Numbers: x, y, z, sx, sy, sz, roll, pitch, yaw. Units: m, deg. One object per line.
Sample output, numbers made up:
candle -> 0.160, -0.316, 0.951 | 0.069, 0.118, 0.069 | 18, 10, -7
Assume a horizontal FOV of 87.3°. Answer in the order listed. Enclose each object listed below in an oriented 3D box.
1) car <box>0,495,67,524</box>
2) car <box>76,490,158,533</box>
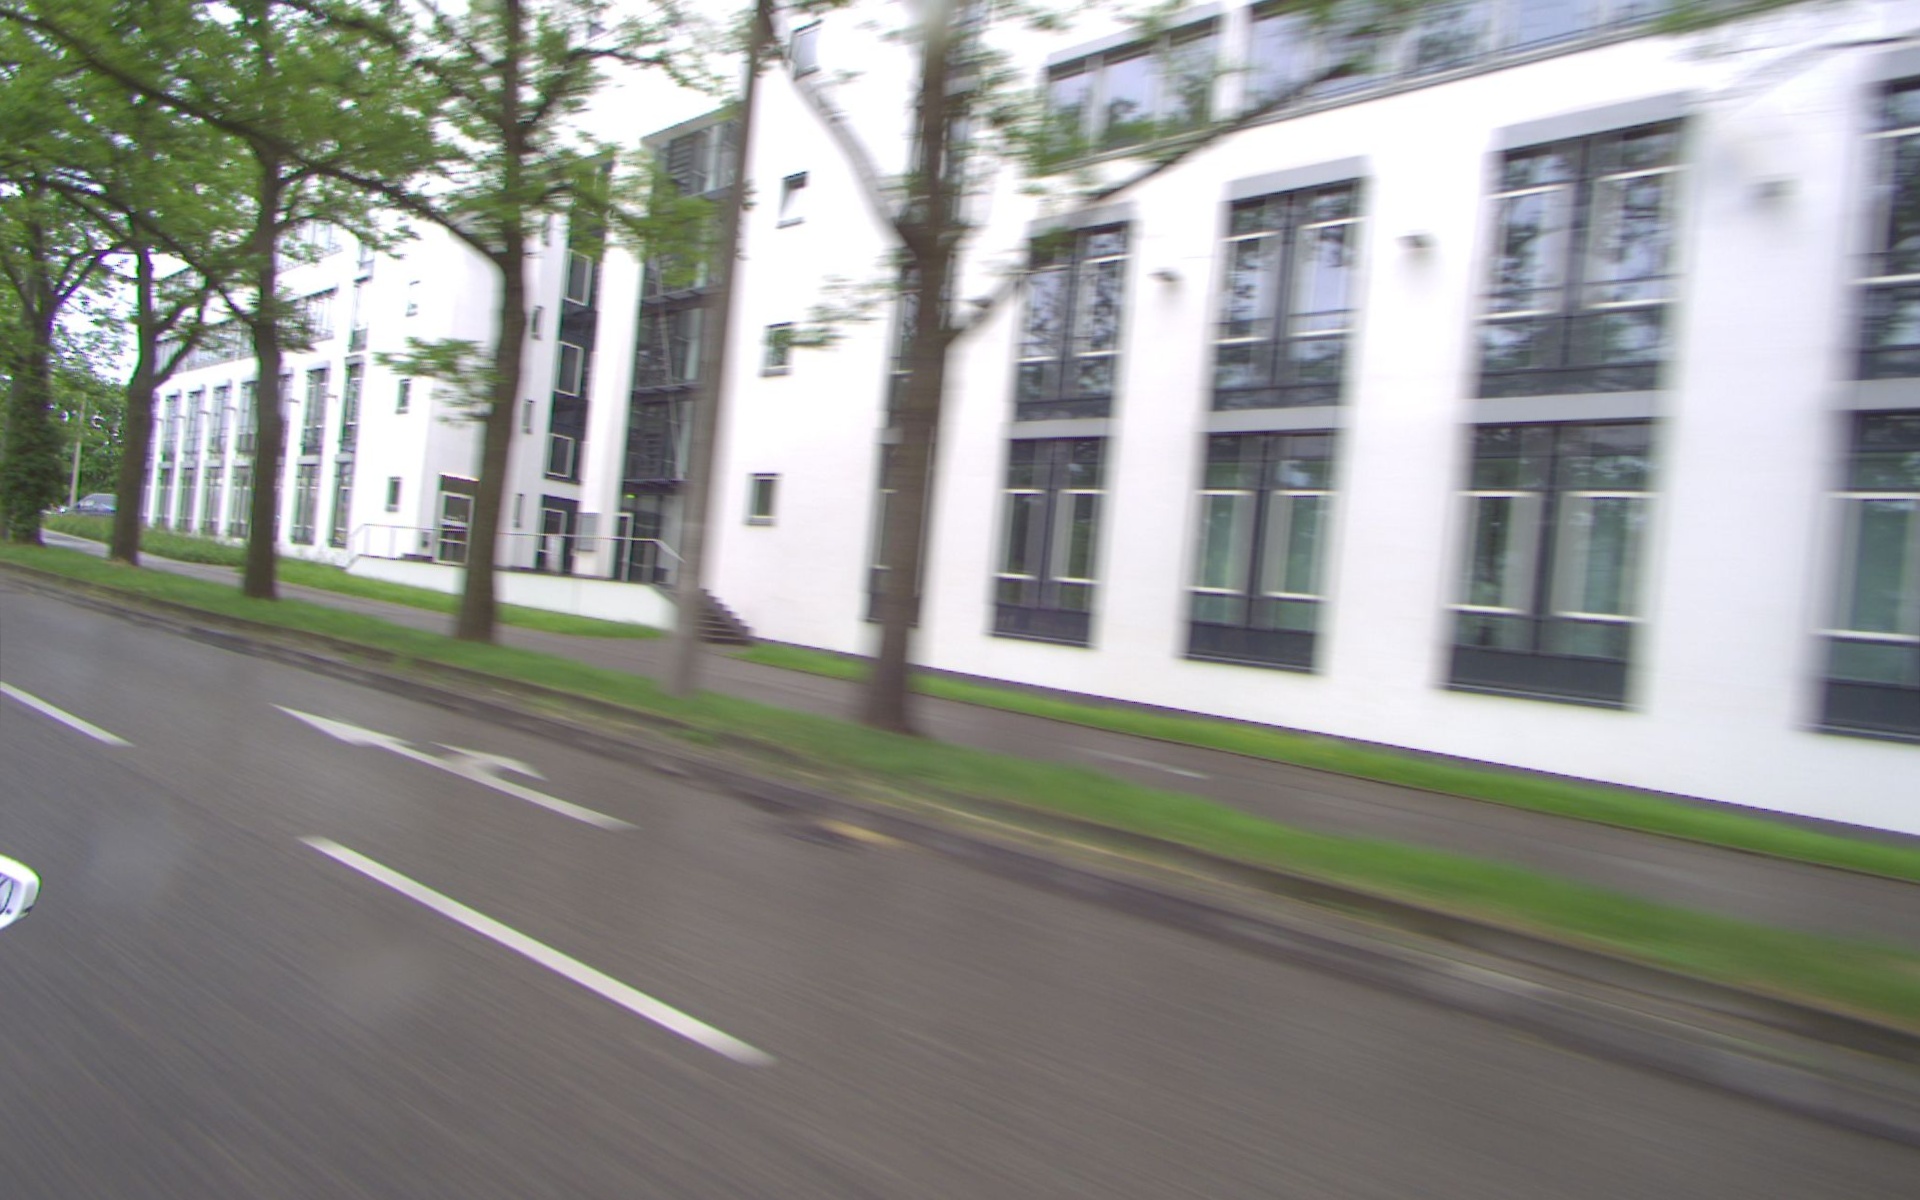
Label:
car -> -65.920, -6.396, 71.021 | 3.962, 1.556, 1.981 | 6, 0, -35
car -> -63.353, -6.612, 75.662 | 4.206, 2.596, 1.986 | 6, 1, -28
